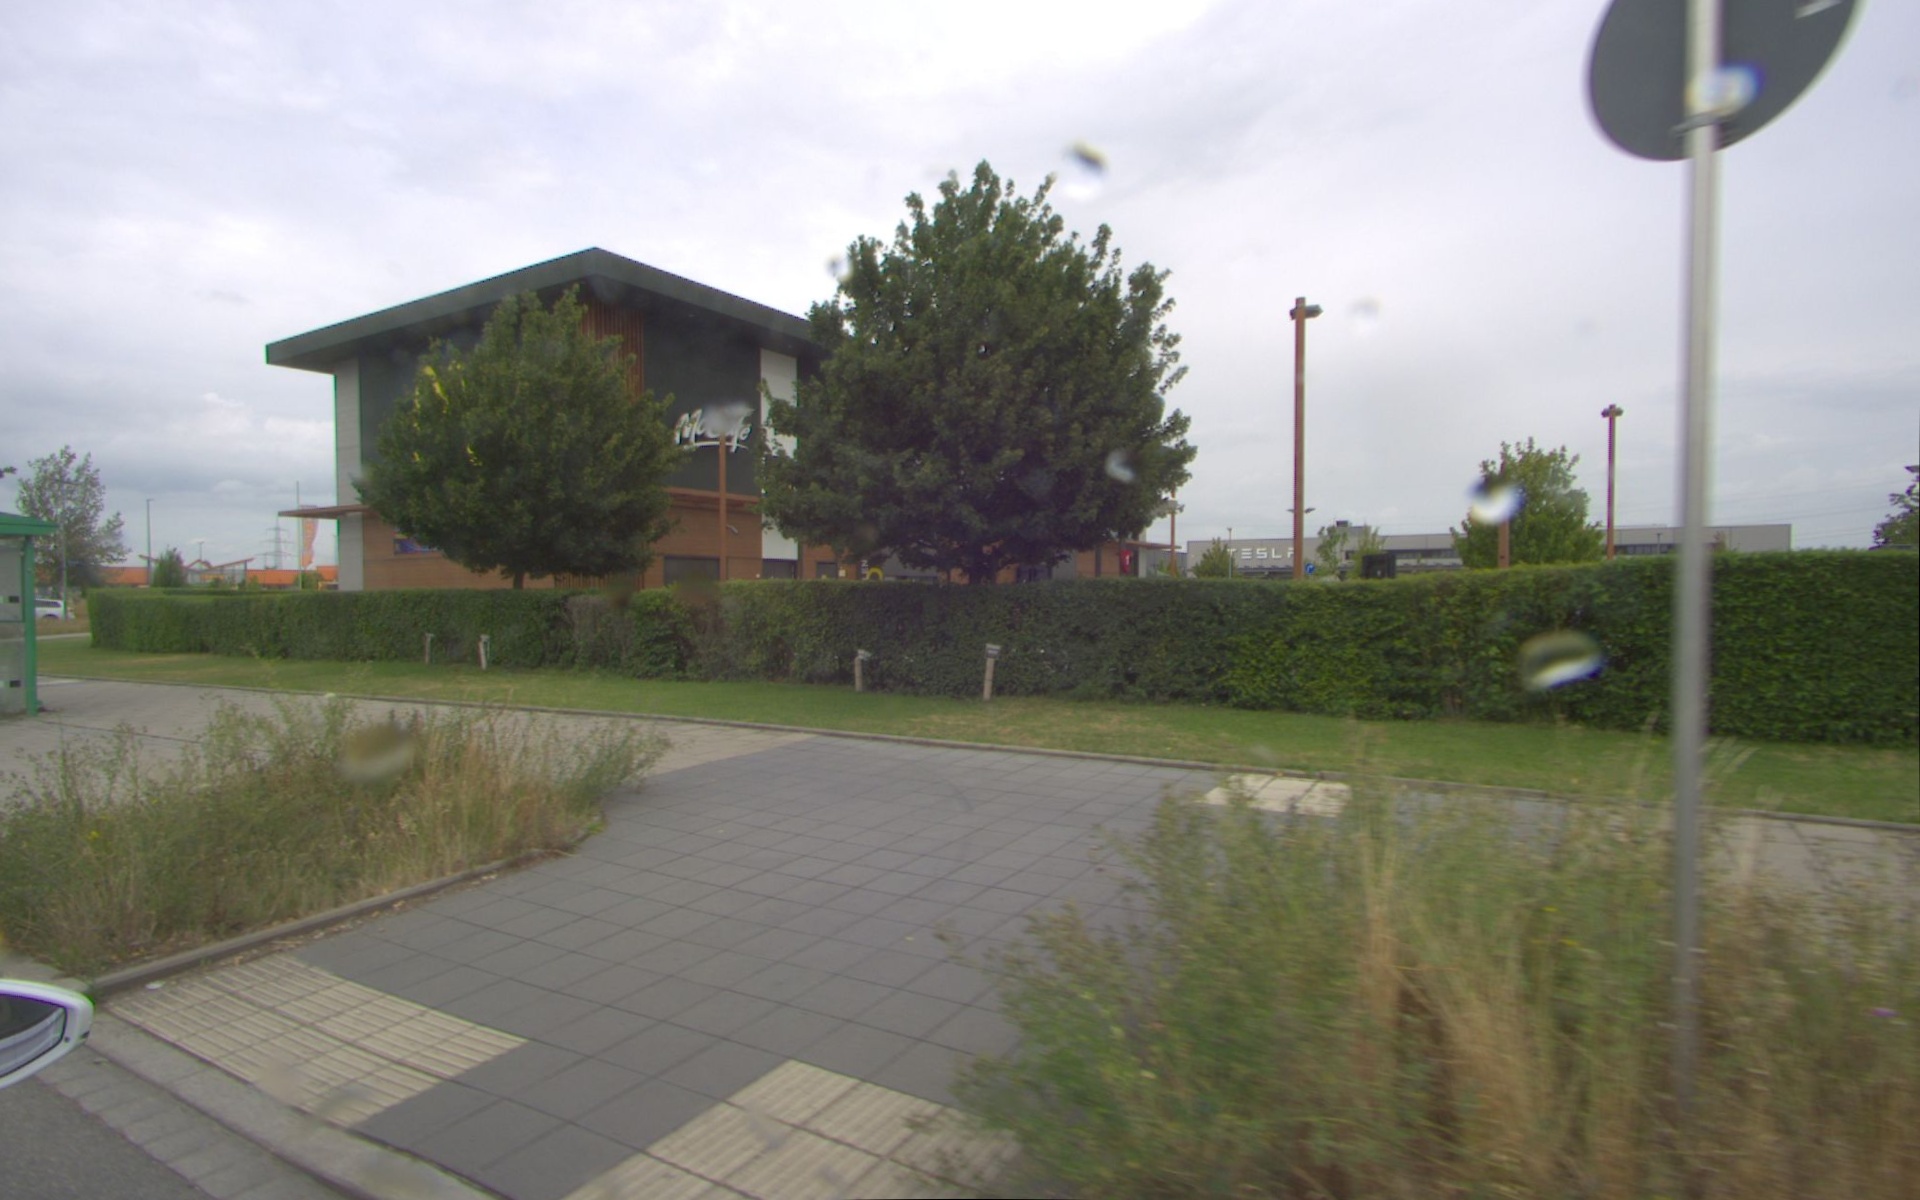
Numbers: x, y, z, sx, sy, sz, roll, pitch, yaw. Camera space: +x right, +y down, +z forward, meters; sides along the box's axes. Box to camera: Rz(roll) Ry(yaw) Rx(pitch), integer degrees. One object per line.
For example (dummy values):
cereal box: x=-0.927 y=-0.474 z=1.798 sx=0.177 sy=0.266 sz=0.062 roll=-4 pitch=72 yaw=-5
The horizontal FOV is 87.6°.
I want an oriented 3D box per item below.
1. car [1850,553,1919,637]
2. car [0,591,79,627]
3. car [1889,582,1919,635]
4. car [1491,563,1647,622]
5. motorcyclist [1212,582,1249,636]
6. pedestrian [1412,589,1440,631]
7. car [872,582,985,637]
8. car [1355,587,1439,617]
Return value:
car: x=30.524 y=-0.138 z=28.802 sx=2.241 sy=2.535 sz=7.314 roll=0 pitch=0 yaw=-16
car: x=-48.147 y=0.445 z=51.132 sx=1.978 sy=1.780 sz=4.578 roll=0 pitch=0 yaw=42
car: x=27.923 y=0.216 z=26.722 sx=1.921 sy=1.462 sz=4.212 roll=0 pitch=0 yaw=-15
car: x=27.483 y=-0.341 z=45.269 sx=5.932 sy=2.562 sz=2.280 roll=0 pitch=1 yaw=-9
motorcyclist: x=9.552 y=0.319 z=35.362 sx=0.948 sy=1.856 sz=0.843 roll=0 pitch=0 yaw=-20
pedestrian: x=18.427 y=0.385 z=39.612 sx=0.673 sy=1.649 sz=0.739 roll=0 pitch=0 yaw=-20
car: x=-1.008 y=0.332 z=33.927 sx=1.971 sy=1.739 sz=3.980 roll=0 pitch=0 yaw=32
car: x=27.742 y=0.145 z=63.547 sx=4.694 sy=1.803 sz=1.946 roll=0 pitch=0 yaw=32
